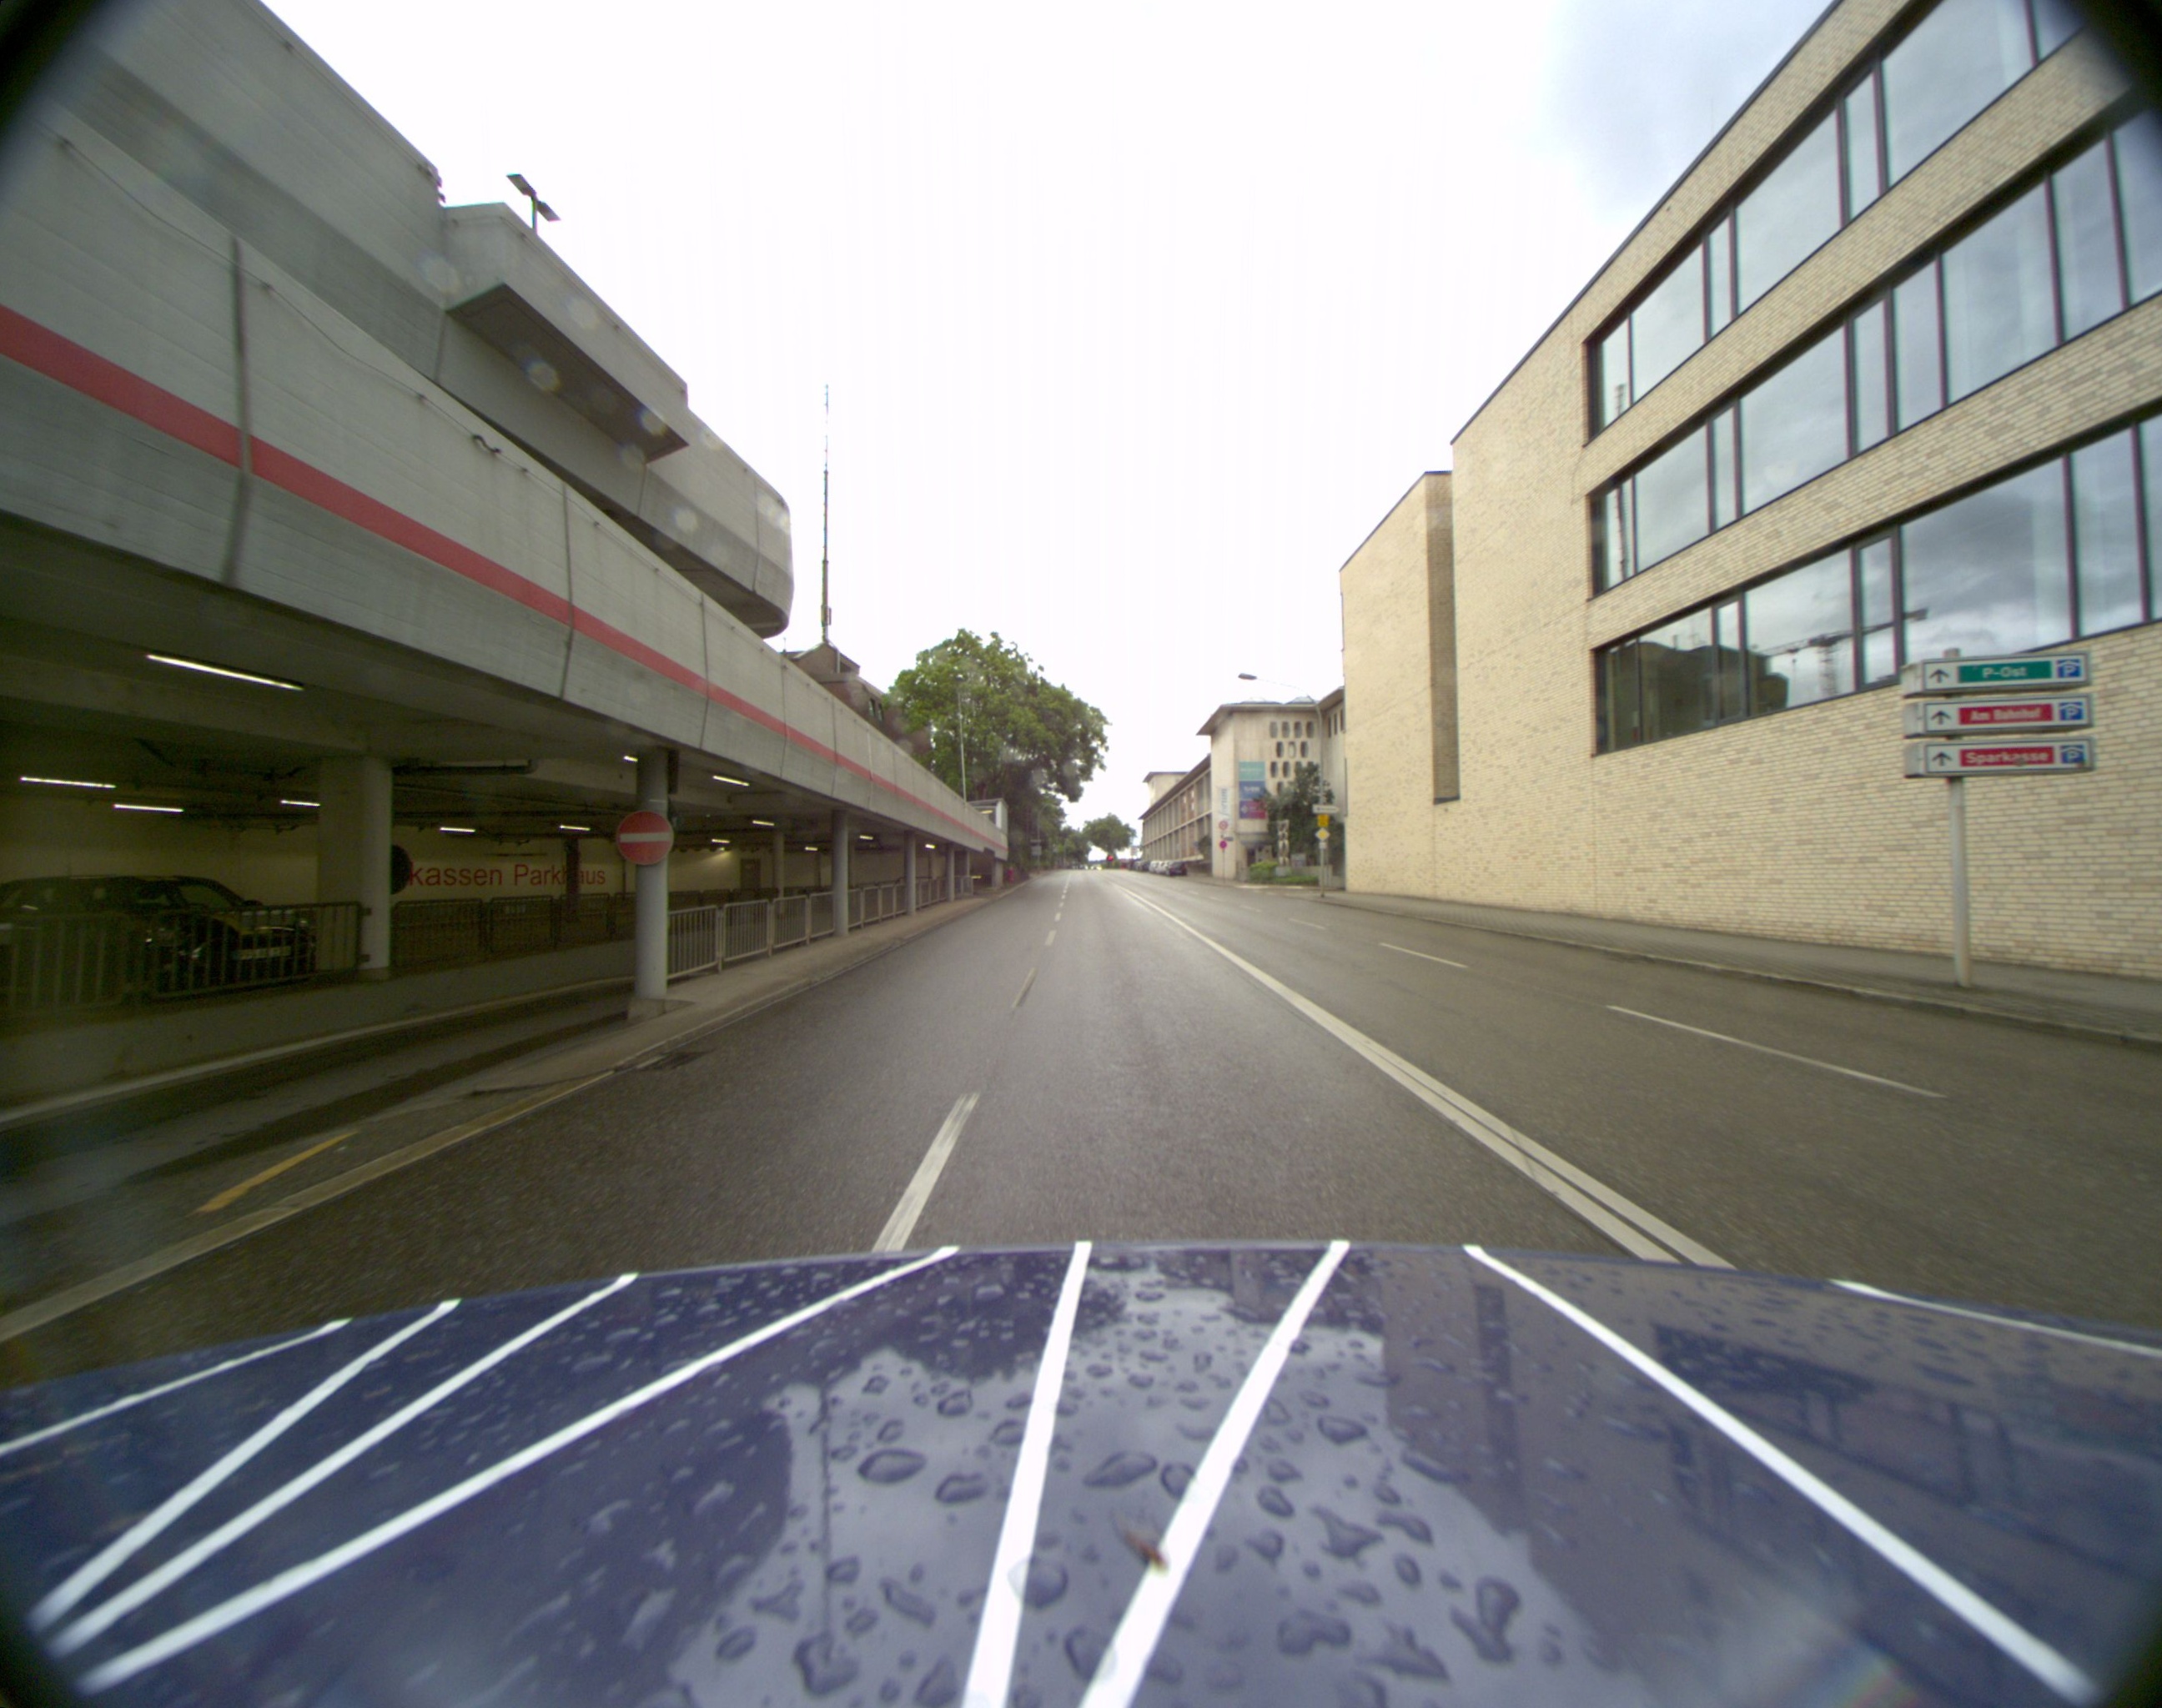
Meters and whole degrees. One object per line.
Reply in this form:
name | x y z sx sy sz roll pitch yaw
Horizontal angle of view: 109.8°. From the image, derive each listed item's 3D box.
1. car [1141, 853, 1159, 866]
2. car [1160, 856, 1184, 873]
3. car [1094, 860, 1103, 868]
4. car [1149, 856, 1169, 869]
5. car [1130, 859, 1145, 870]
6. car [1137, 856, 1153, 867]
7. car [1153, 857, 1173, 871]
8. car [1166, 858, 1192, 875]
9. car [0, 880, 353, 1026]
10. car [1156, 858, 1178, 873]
car | 9.637 0.790 106.225 1.999 1.701 3.999 -2 1 -1
car | 9.714 1.079 81.206 1.998 1.632 3.999 -3 1 0
car | 4.627 2.588 197.454 1.805 2.002 3.997 -3 1 -6
car | 10.014 1.124 97.875 1.999 1.521 3.999 -2 1 -1
car | 9.496 1.778 127.337 1.999 1.637 3.998 -4 2 -1
car | 10.039 1.210 118.995 1.999 1.528 3.999 -3 1 -1
car | 9.825 1.147 91.402 1.998 1.482 4.185 -3 1 0
car | 9.732 1.228 75.855 1.999 1.520 3.999 -3 1 -1
car | -11.277 1.072 9.112 3.729 1.496 1.809 0 -1 10
car | 9.795 1.281 86.741 1.998 1.503 4.000 -3 1 1
